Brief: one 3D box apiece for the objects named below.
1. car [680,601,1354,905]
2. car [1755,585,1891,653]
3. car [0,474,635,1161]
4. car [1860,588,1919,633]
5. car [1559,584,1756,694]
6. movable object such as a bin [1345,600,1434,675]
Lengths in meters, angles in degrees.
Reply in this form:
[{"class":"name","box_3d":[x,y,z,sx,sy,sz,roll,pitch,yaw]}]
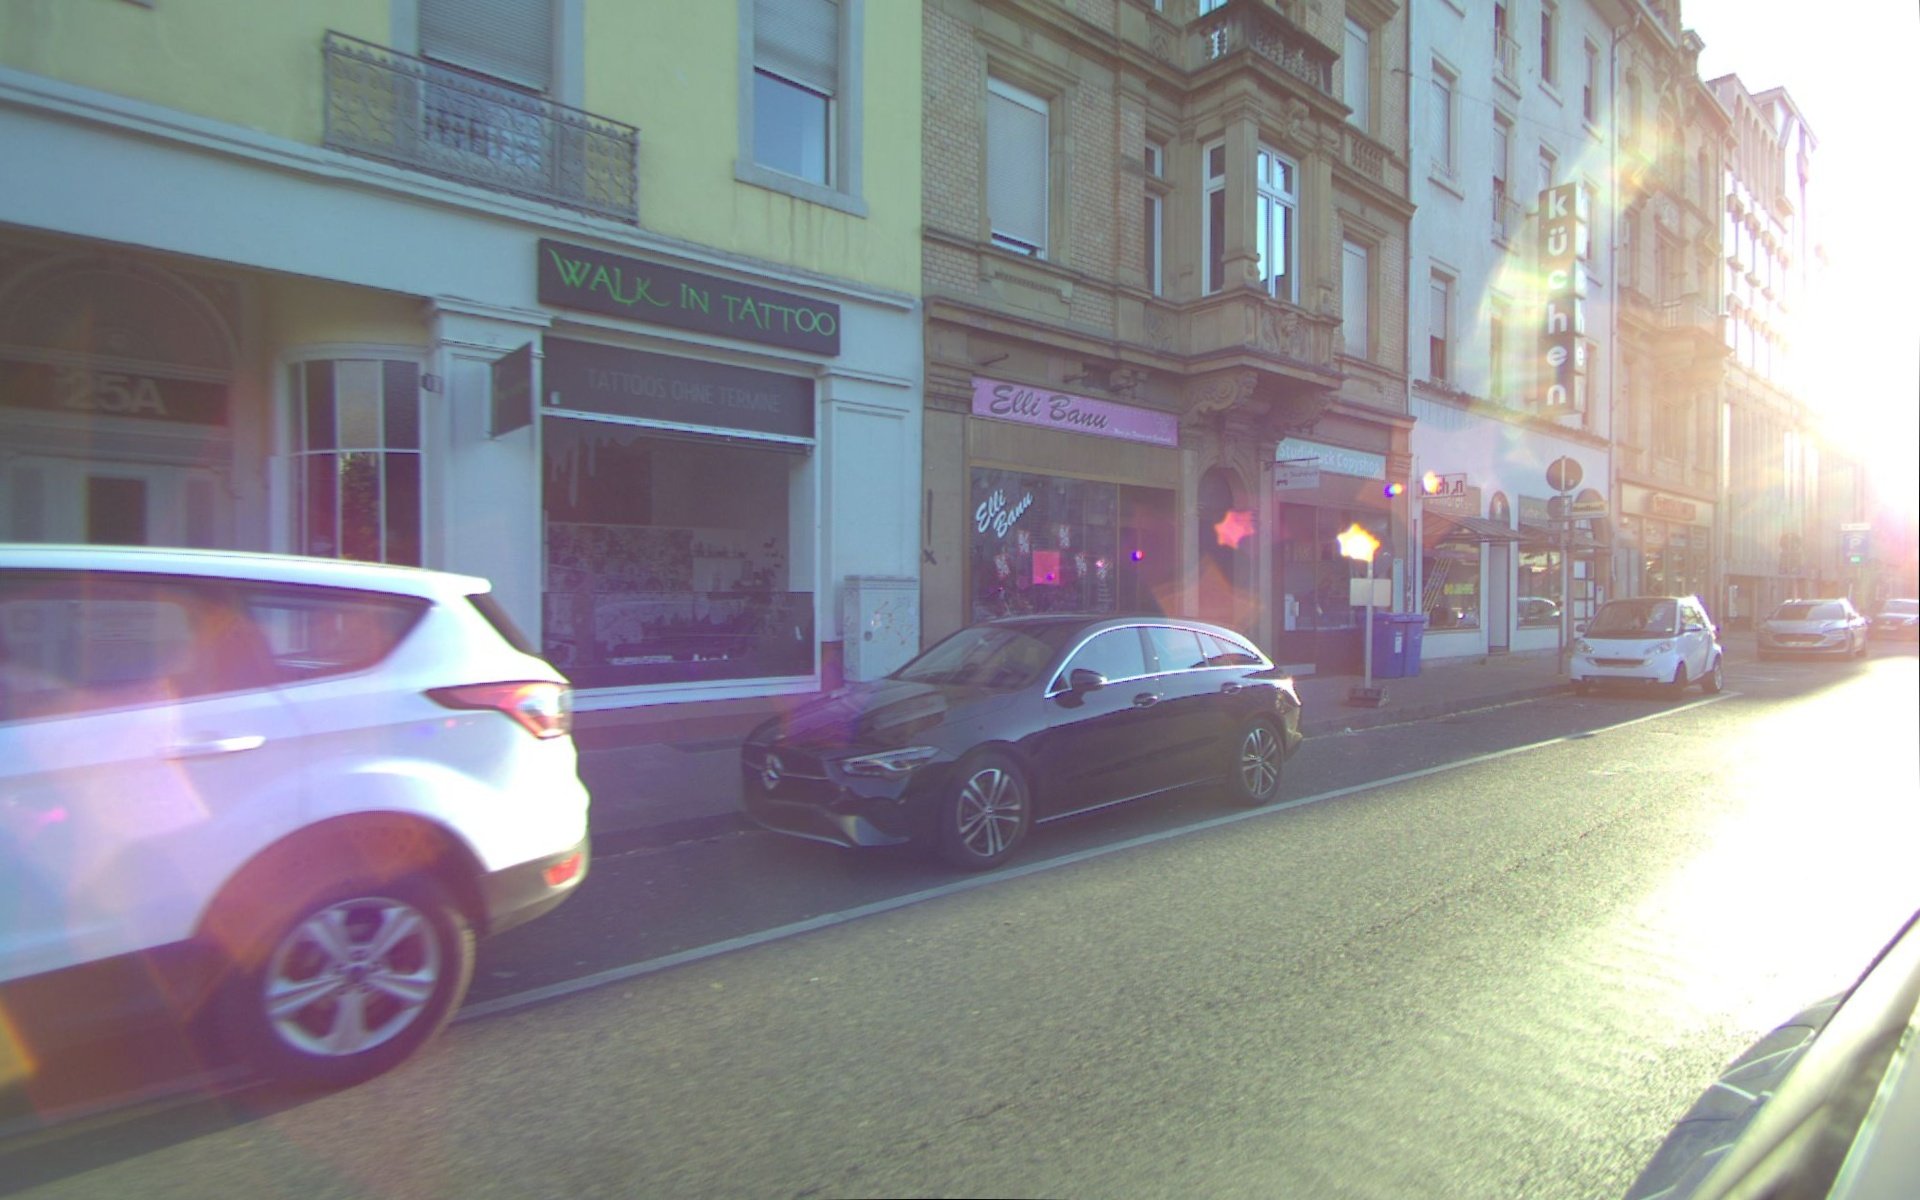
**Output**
[{"class":"car","box_3d":[0.661,0.742,7.229,4.764,1.452,1.997,0,0,-40]},{"class":"car","box_3d":[21.573,0.469,25.244,4.600,1.555,1.996,1,-1,-42]},{"class":"car","box_3d":[-3.541,0.542,2.927,4.577,1.767,1.885,1,-1,-41]},{"class":"car","box_3d":[34.859,0.383,37.290,3.929,1.539,1.998,0,1,-40]},{"class":"car","box_3d":[11.565,0.593,16.690,3.928,1.605,1.703,1,0,-40]},{"class":"movable object such as a bin","box_3d":[7.282,0.605,17.148,1.373,1.201,0.868,0,0,-41]}]
